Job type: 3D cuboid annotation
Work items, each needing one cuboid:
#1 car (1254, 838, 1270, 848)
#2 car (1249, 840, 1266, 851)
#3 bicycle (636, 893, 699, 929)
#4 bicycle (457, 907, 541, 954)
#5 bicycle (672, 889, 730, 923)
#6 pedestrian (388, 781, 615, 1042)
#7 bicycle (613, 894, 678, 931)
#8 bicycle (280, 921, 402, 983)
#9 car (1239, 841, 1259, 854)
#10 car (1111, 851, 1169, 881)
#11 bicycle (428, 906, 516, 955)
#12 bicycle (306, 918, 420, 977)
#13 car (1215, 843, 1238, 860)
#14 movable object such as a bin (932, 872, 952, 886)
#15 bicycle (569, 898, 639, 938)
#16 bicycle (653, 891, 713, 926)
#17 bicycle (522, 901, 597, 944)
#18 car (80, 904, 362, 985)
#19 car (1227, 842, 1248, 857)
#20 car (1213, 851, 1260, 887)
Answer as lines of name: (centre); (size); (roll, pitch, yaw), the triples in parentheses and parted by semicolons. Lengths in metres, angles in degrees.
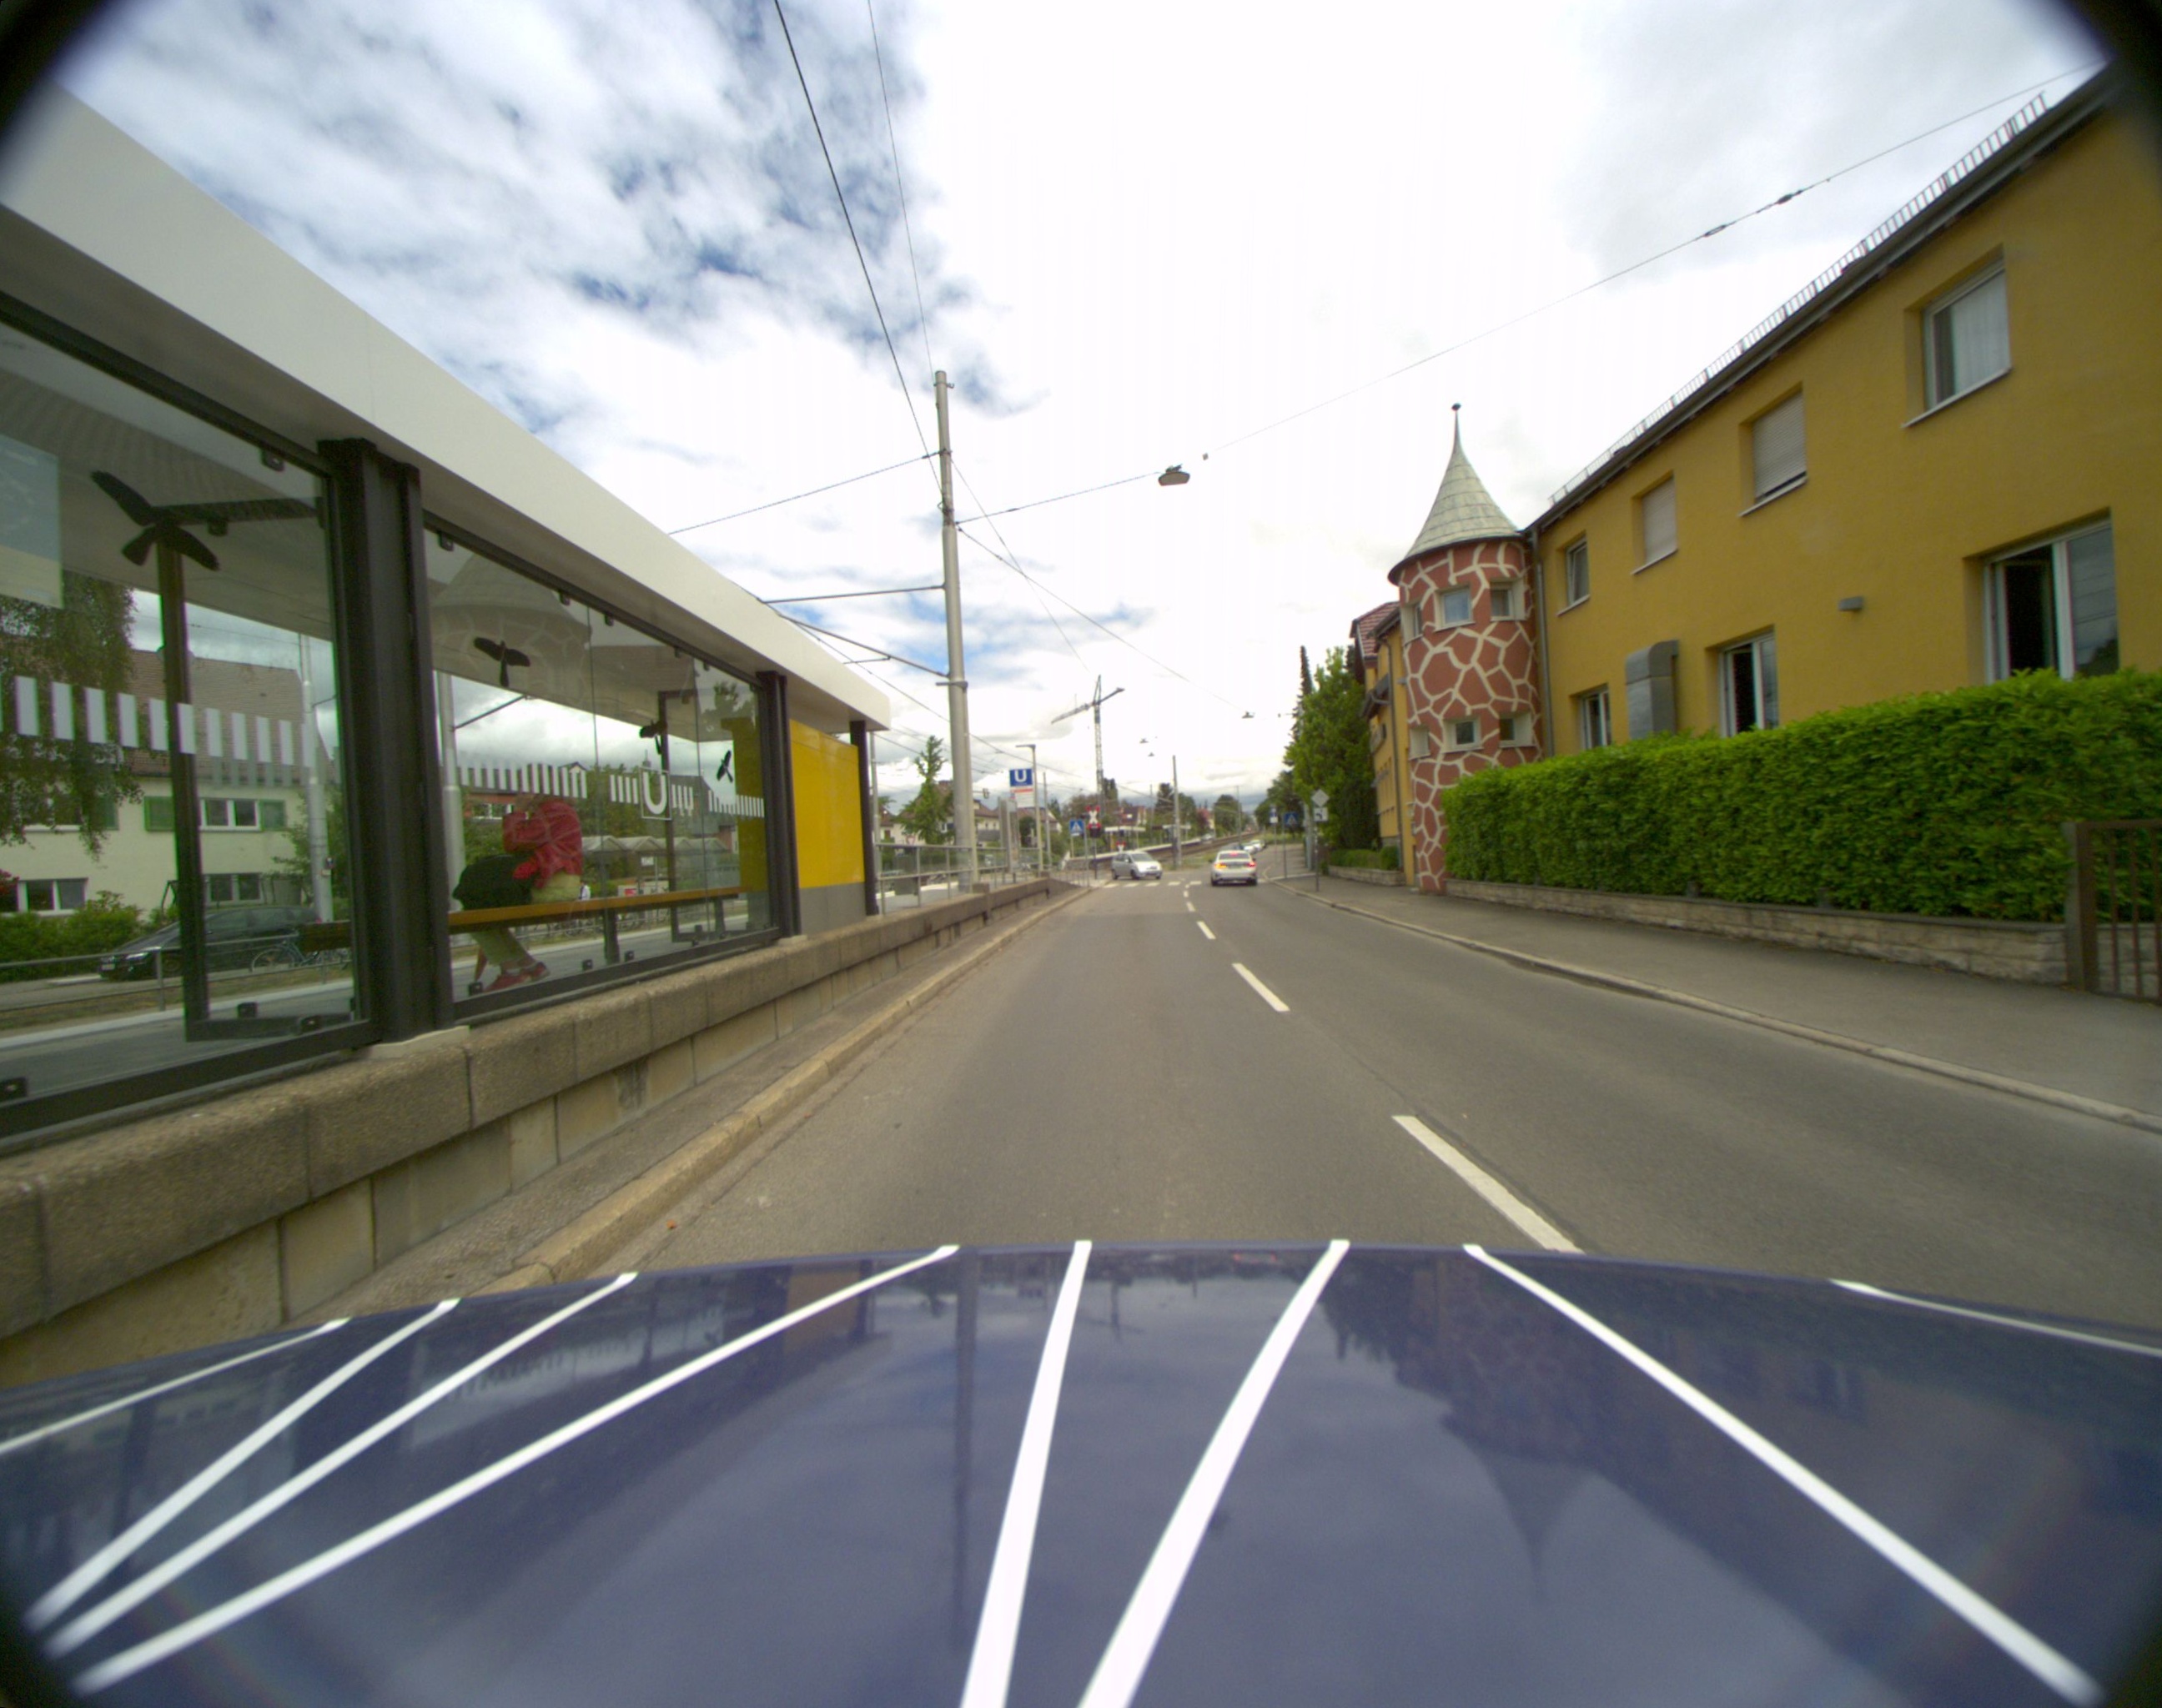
car: (27.181, -1.670, 114.006); (1.851, 1.368, 4.004); (-4, 0, 18)
car: (23.928, -1.186, 102.906); (1.851, 1.368, 4.004); (-4, 0, 18)
bicycle: (-13.442, 1.845, 24.713); (1.768, 1.036, 0.557); (-4, 1, 10)
bicycle: (-14.481, 1.908, 18.912); (1.768, 1.036, 0.557); (-4, 1, 10)
bicycle: (-13.151, 1.789, 26.309); (1.768, 1.036, 0.557); (-4, 1, 10)
pedestrian: (-3.162, 0.293, 4.220); (0.622, 1.291, 0.719); (-3, 1, -1)
bicycle: (-13.671, 1.835, 23.882); (1.768, 1.036, 0.557); (-4, 1, 10)
bicycle: (-14.489, 1.906, 14.904); (1.769, 1.036, 0.557); (-4, 1, 0)
car: (20.372, -0.797, 92.164); (1.851, 1.368, 4.004); (-4, 0, 18)
car: (3.287, 0.689, 43.278); (1.728, 1.559, 3.921); (-4, 0, -20)
bicycle: (-14.623, 1.843, 18.253); (1.768, 1.036, 0.557); (-4, 1, 10)
bicycle: (-14.798, 1.928, 15.687); (1.769, 1.036, 0.557); (-4, 1, 1)
car: (14.660, -0.276, 76.257); (1.819, 1.493, 4.123); (-4, 0, 16)
movable object such as a bin: (-8.988, 1.599, 49.152); (0.578, 0.820, 1.096); (-3, 1, 36)
bicycle: (-13.995, 1.883, 22.301); (1.768, 1.036, 0.557); (-4, 1, 10)
bicycle: (-13.312, 1.827, 25.420); (1.768, 1.036, 0.557); (-4, 1, 10)
bicycle: (-14.222, 1.861, 20.730); (1.768, 1.036, 0.557); (-4, 1, 10)
car: (-21.984, 2.255, 19.730); (1.818, 1.477, 4.426); (-3, 0, 16)
car: (16.989, -0.521, 82.525); (1.819, 1.493, 4.123); (-4, 0, 16)
car: (6.581, 0.591, 32.391); (1.821, 1.411, 4.466); (-1, 0, 10)
